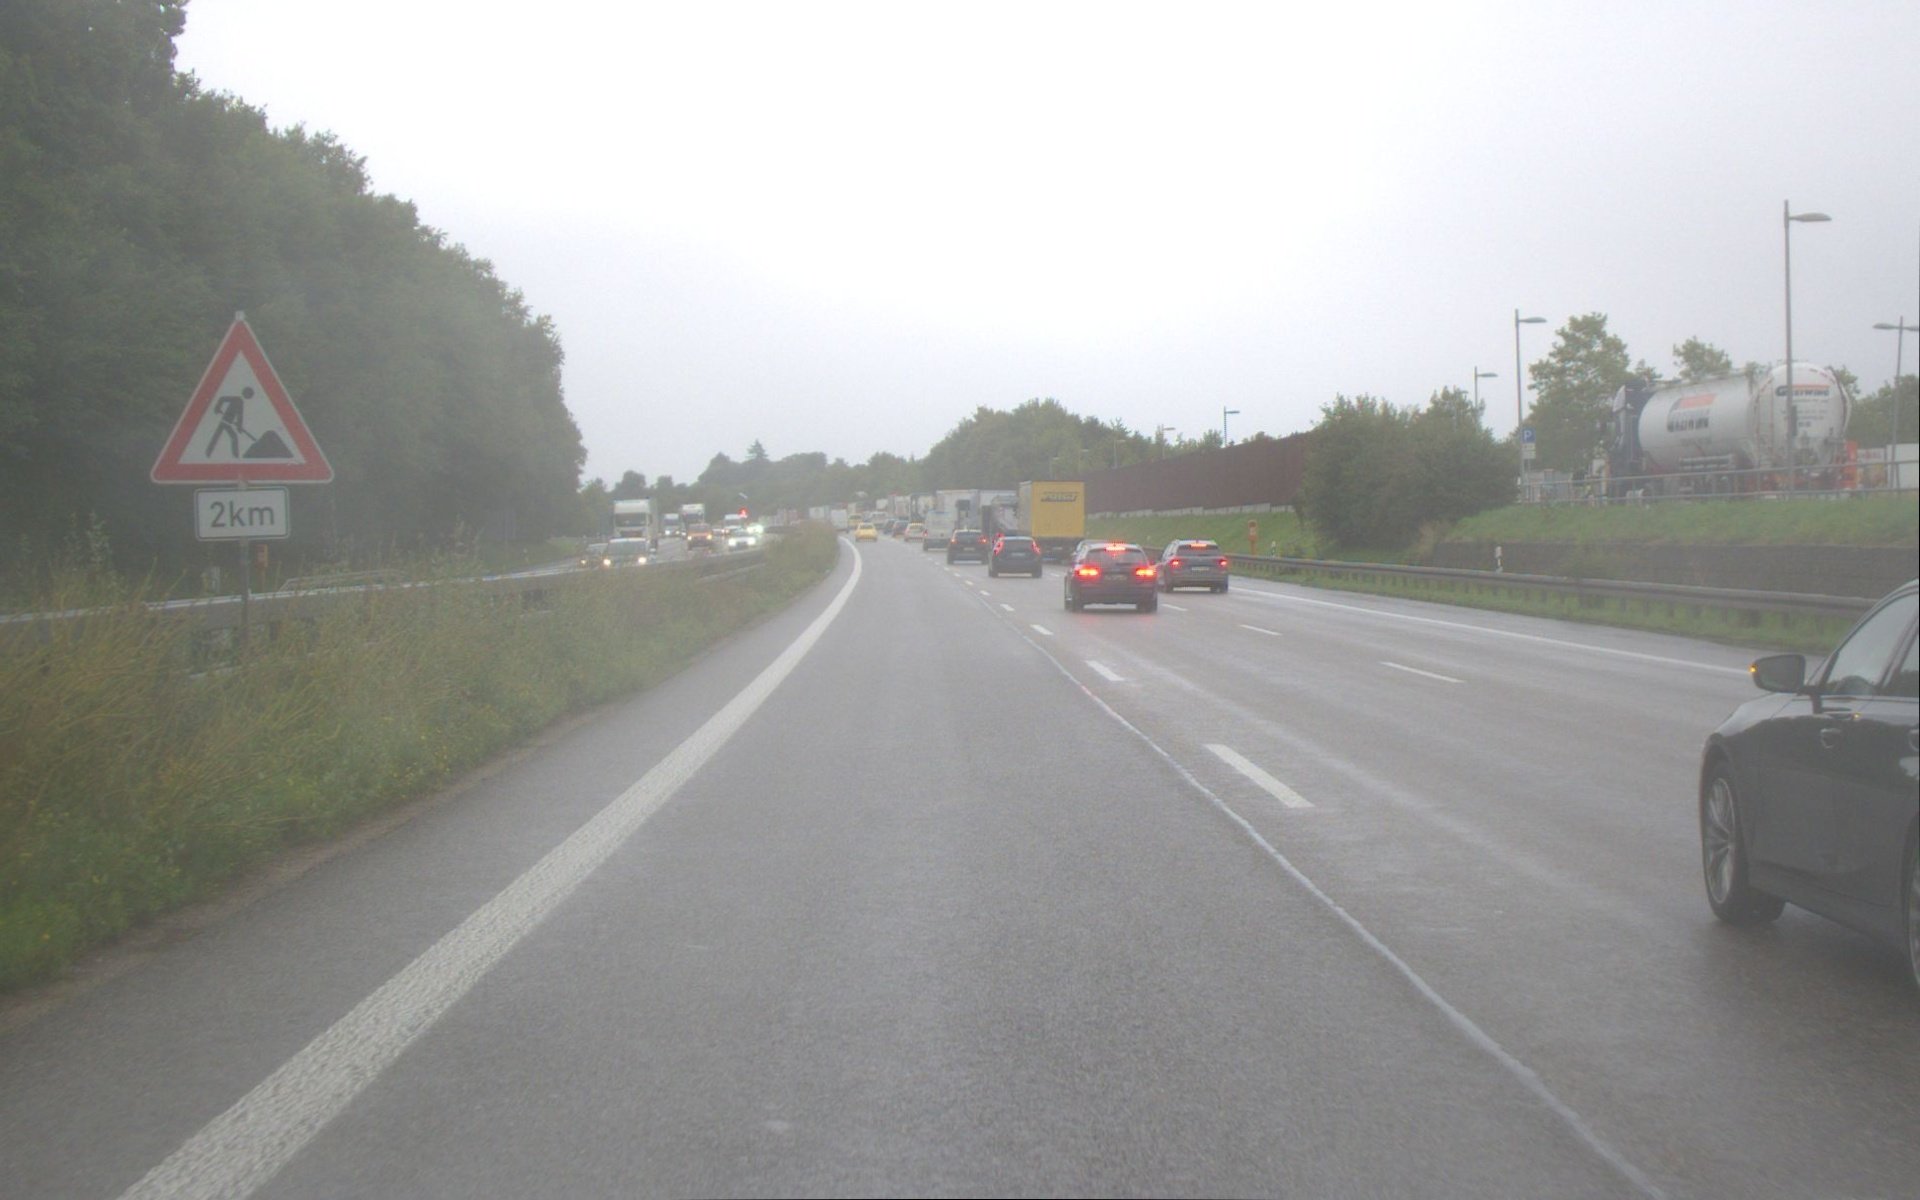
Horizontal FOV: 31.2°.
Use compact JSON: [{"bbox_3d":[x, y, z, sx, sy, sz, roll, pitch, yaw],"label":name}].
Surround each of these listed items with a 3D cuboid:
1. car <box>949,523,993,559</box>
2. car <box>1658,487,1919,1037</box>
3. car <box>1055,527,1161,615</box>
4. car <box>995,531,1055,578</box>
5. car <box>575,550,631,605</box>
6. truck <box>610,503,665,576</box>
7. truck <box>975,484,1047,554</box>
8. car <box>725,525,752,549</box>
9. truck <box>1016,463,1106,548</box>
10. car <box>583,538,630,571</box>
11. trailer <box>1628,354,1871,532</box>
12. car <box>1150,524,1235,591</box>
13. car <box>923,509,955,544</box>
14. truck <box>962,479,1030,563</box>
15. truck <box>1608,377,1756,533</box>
[{"bbox_3d":[0.524,-2.794,163.009,1.993,1.623,4.000,-1,1,-1],"label":"car"},{"bbox_3d":[3.947,0.496,11.665,2.058,1.666,5.522,0,0,0],"label":"car"},{"bbox_3d":[3.095,-0.634,72.566,1.993,1.755,4.000,-1,1,-1],"label":"car"},{"bbox_3d":[2.341,-1.658,124.519,1.993,1.623,4.000,-1,1,-1],"label":"car"},{"bbox_3d":[-12.577,-0.801,121.170,1.603,1.878,3.572,-1,1,-1],"label":"car"},{"bbox_3d":[-22.735,-4.276,242.964,2.990,4.919,9.483,-1,1,-1],"label":"truck"},{"bbox_3d":[3.005,-4.849,207.065,3.924,3.968,12.240,-1,1,-1],"label":"truck"},{"bbox_3d":[-14.987,-4.279,232.297,1.603,1.578,3.572,-1,1,-1],"label":"car"},{"bbox_3d":[4.965,-4.667,171.922,3.924,3.968,12.240,-1,1,-1],"label":"truck"},{"bbox_3d":[-15.711,-2.038,152.894,1.678,1.393,4.000,-1,1,-1],"label":"car"},{"bbox_3d":[19.984,-3.854,88.019,2.985,4.142,12.957,-1,1,-1],"label":"trailer"},{"bbox_3d":[6.414,-1.186,95.327,1.993,1.755,4.000,-1,1,-1],"label":"car"},{"bbox_3d":[-1.356,-4.713,220.839,1.993,2.197,4.000,-1,1,-1],"label":"car"},{"bbox_3d":[2.453,-5.419,237.547,4.287,5.549,12.240,-1,1,-1],"label":"truck"},{"bbox_3d":[19.918,-3.958,95.062,2.949,4.131,4.922,-1,1,0],"label":"truck"}]
